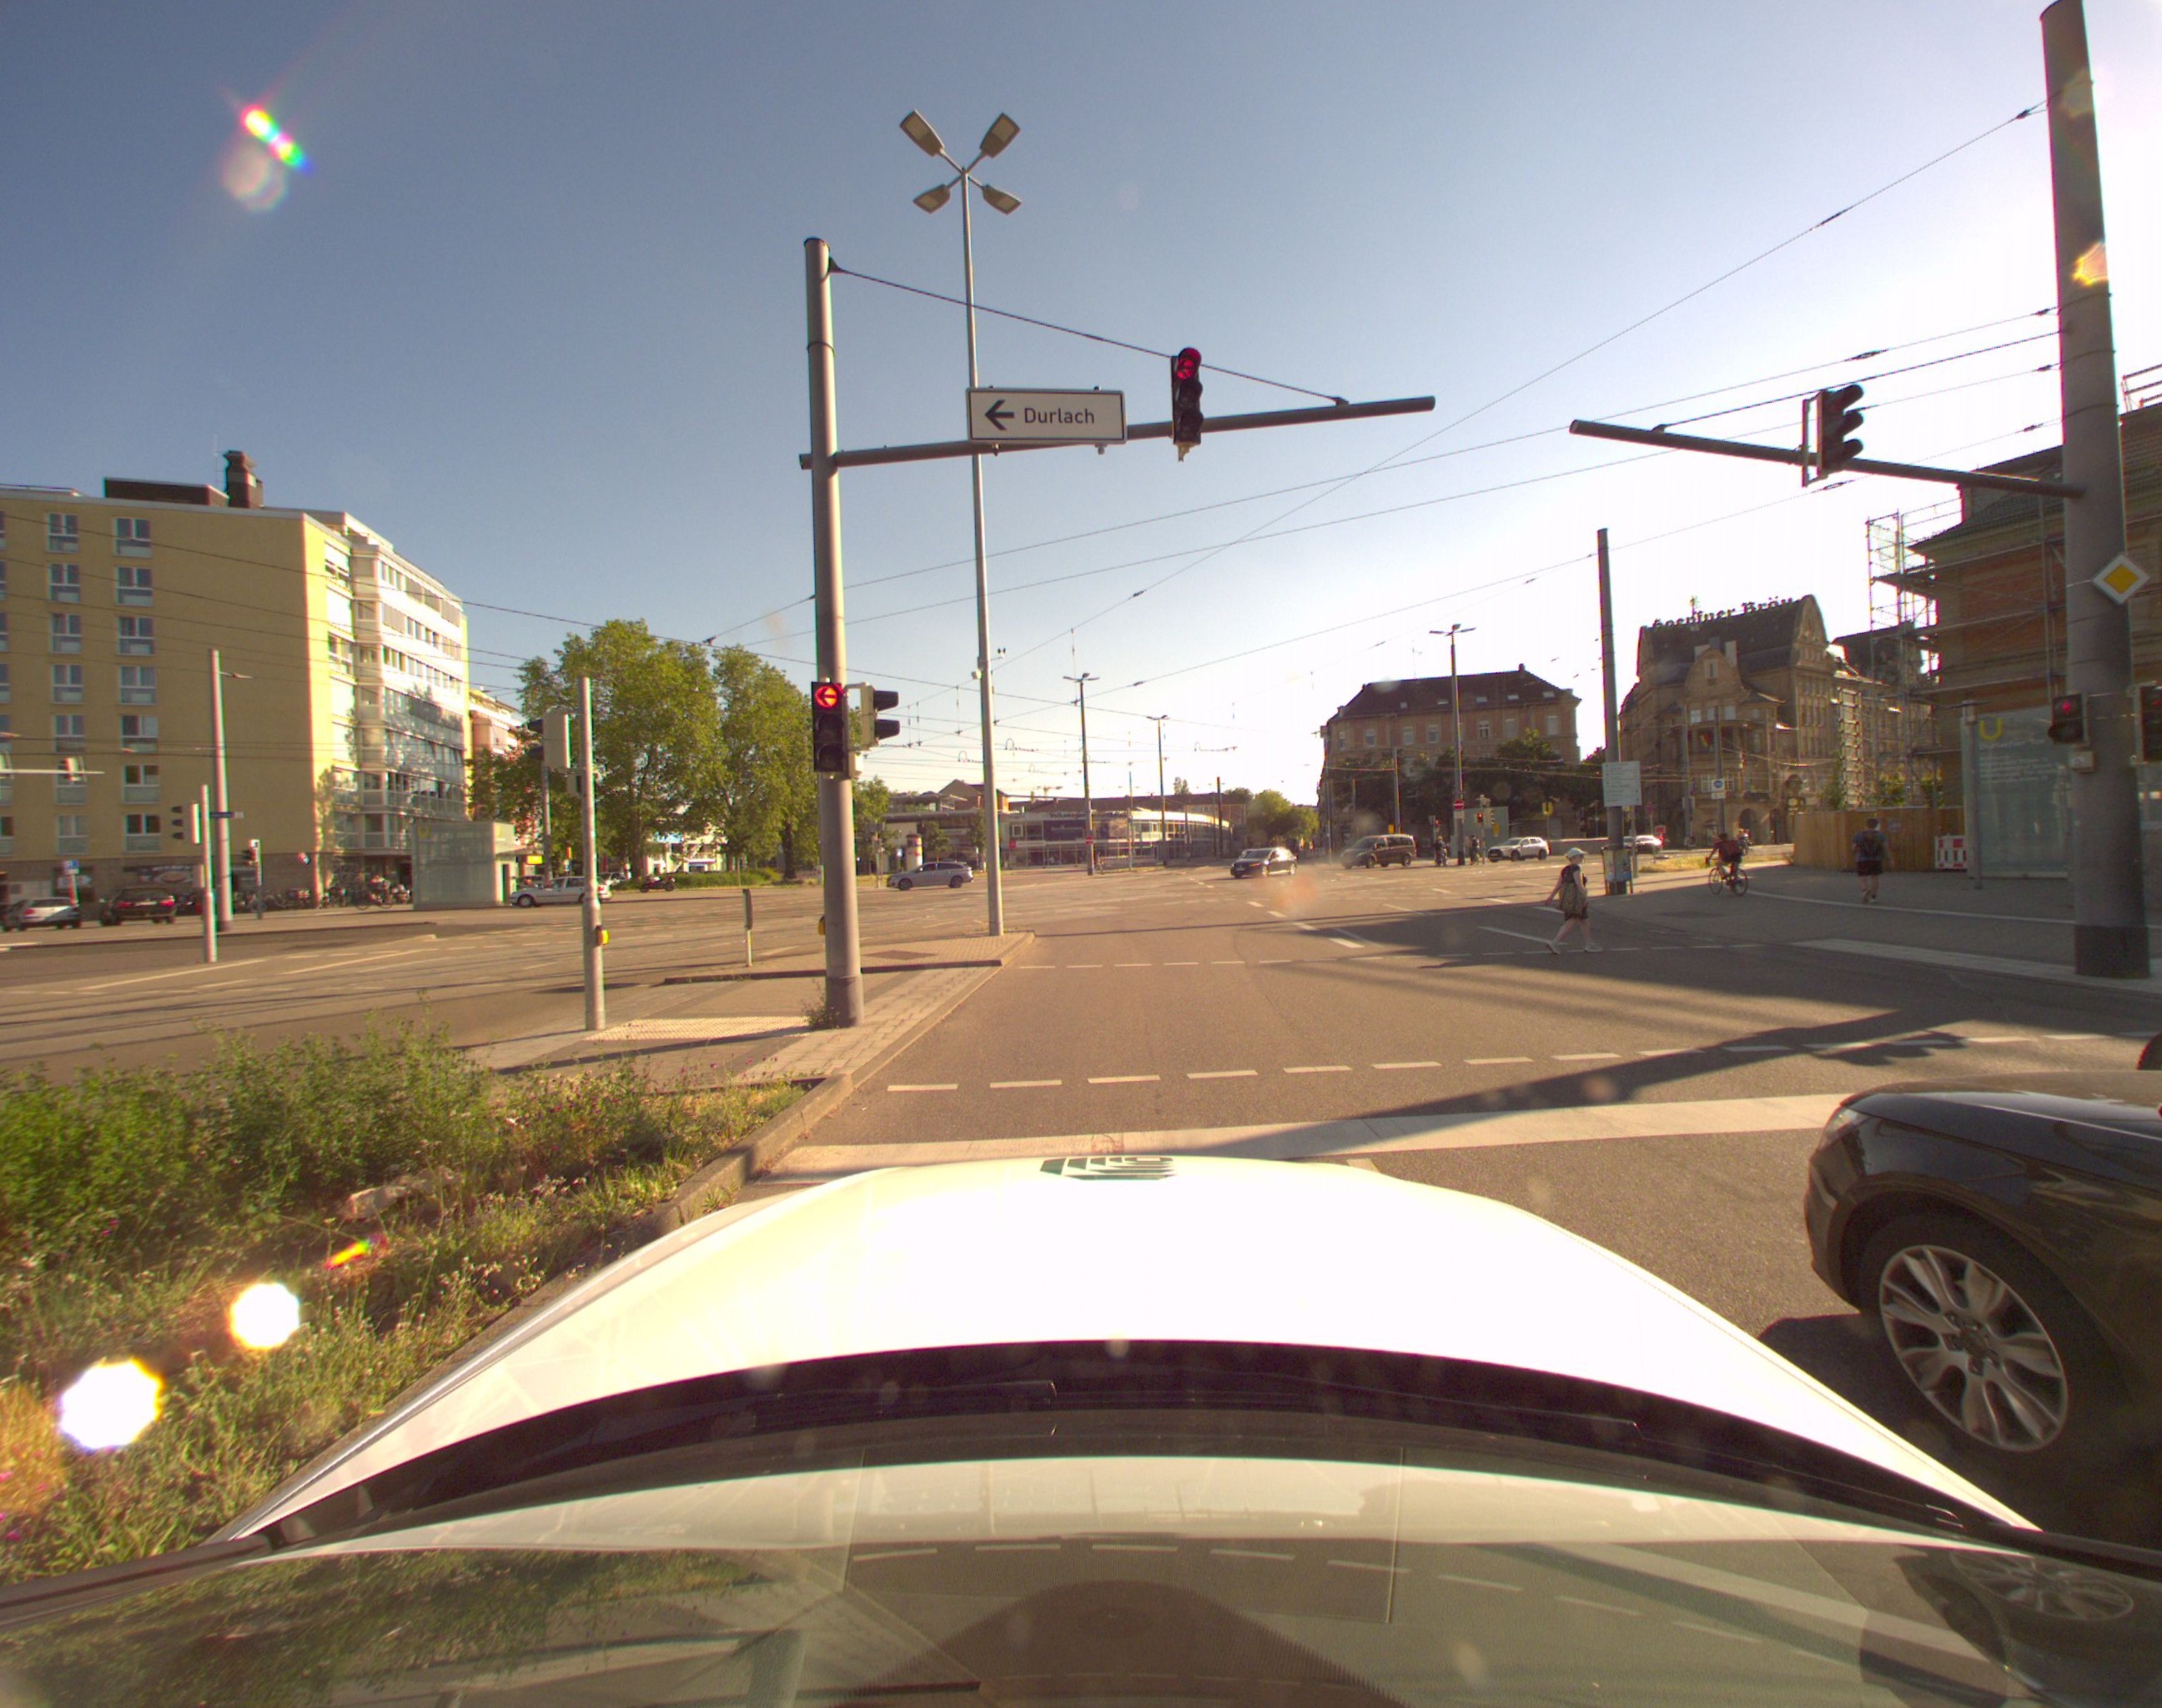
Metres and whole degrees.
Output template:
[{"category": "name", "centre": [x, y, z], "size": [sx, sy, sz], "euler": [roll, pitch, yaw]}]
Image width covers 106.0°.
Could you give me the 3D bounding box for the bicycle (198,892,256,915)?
[{"category": "bicycle", "centre": [-47.074, 2.729, 44.932], "size": [2.047, 1.090, 0.772], "euler": [-2, 0, -18]}]

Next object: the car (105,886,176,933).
[{"category": "car", "centre": [-43.643, 2.524, 37.765], "size": [3.948, 1.857, 1.865], "euler": [0, 2, 38]}]

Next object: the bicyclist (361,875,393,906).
[{"category": "bicyclist", "centre": [-38.108, 1.965, 44.106], "size": [0.925, 1.559, 0.958], "euler": [-2, 0, -14]}]

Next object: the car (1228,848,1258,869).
[{"category": "car", "centre": [13.103, 0.351, 65.967], "size": [1.937, 1.594, 4.625], "euler": [-2, 0, 7]}]

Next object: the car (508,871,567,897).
[{"category": "car", "centre": [-45.769, 2.505, 68.640], "size": [4.016, 1.857, 1.834], "euler": [-2, 2, -33]}]

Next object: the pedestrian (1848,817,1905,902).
[{"category": "pedestrian", "centre": [16.155, 0.106, 16.557], "size": [0.690, 1.671, 0.834], "euler": [-4, -1, 40]}]

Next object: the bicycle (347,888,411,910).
[{"category": "bicycle", "centre": [-38.009, 2.435, 44.119], "size": [2.441, 1.003, 0.958], "euler": [-2, 0, -14]}]

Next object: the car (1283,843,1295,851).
[{"category": "car", "centre": [47.599, -1.579, 186.549], "size": [1.795, 1.655, 3.919], "euler": [-1, 2, 1]}]

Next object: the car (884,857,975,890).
[{"category": "car", "centre": [-8.207, 1.031, 44.048], "size": [4.559, 1.517, 1.940], "euler": [-2, 0, -20]}]

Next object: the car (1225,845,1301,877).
[{"category": "car", "centre": [9.399, 0.355, 41.948], "size": [1.929, 1.486, 4.127], "euler": [-2, 0, 44]}]

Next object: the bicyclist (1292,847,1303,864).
[{"category": "bicyclist", "centre": [24.042, 0.155, 90.531], "size": [1.110, 1.900, 1.079], "euler": [-1, 1, 19]}]

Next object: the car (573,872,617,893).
[{"category": "car", "centre": [-37.723, 2.216, 63.331], "size": [1.850, 1.452, 3.981], "euler": [-2, 0, -14]}]

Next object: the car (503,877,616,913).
[{"category": "car", "centre": [-24.758, 1.907, 38.836], "size": [4.105, 1.452, 1.942], "euler": [-2, 0, -17]}]

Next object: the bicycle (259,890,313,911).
[{"category": "bicycle", "centre": [-45.291, 2.647, 46.410], "size": [2.047, 1.090, 0.772], "euler": [-2, 0, -18]}]

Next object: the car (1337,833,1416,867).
[{"category": "car", "centre": [17.870, -0.256, 49.216], "size": [4.869, 1.893, 1.933], "euler": [-2, 0, -34]}]

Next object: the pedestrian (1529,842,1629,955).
[{"category": "pedestrian", "centre": [7.421, 0.637, 12.161], "size": [1.092, 1.606, 0.697], "euler": [-1, 1, -9]}]

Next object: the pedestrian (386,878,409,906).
[{"category": "pedestrian", "centre": [-41.959, 2.325, 49.980], "size": [0.777, 1.676, 0.778], "euler": [-2, 0, -15]}]

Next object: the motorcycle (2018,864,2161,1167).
[{"category": "motorcycle", "centre": [5.465, 0.734, 2.972], "size": [1.091, 1.377, 2.655], "euler": [-1, -1, 3]}]

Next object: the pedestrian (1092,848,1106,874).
[{"category": "pedestrian", "centre": [1.283, 0.473, 57.691], "size": [0.986, 1.816, 0.920], "euler": [-1, 1, 0]}]

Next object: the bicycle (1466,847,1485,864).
[{"category": "bicycle", "centre": [23.337, 0.093, 48.239], "size": [0.850, 0.905, 2.316], "euler": [-1, 2, 21]}]

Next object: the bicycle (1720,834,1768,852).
[{"category": "bicycle", "centre": [35.521, -0.599, 43.627], "size": [2.501, 0.874, 0.854], "euler": [-2, 2, -20]}]

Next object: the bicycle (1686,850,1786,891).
[{"category": "bicycle", "centre": [16.328, 0.415, 20.374], "size": [0.717, 0.952, 2.250], "euler": [-1, -1, 2]}]

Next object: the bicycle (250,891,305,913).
[{"category": "bicycle", "centre": [-44.996, 2.663, 45.618], "size": [2.047, 1.090, 0.772], "euler": [-2, 0, -18]}]

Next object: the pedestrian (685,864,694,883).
[{"category": "pedestrian", "centre": [-41.174, 2.046, 85.679], "size": [0.586, 2.013, 0.711], "euler": [-2, 0, 1]}]

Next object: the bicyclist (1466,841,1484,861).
[{"category": "bicyclist", "centre": [23.317, -0.186, 48.193], "size": [0.850, 1.176, 0.718], "euler": [-1, 1, 21]}]

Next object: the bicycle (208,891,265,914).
[{"category": "bicycle", "centre": [-47.411, 2.713, 45.735], "size": [2.047, 1.090, 0.772], "euler": [-2, 0, -18]}]

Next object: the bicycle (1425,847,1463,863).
[{"category": "bicycle", "centre": [21.553, 0.048, 48.391], "size": [2.310, 0.905, 0.852], "euler": [-2, 2, -30]}]

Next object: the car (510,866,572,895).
[{"category": "car", "centre": [-42.899, 2.079, 64.747], "size": [4.016, 2.013, 1.979], "euler": [-2, 0, -33]}]

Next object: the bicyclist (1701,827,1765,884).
[{"category": "bicyclist", "centre": [16.321, 0.049, 20.423], "size": [0.717, 1.384, 1.076], "euler": [-1, -2, 2]}]

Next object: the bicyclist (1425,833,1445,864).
[{"category": "bicyclist", "centre": [20.850, -0.326, 48.016], "size": [0.586, 1.778, 0.859], "euler": [-2, 0, -28]}]

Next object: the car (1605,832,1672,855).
[{"category": "car", "centre": [40.023, -0.774, 58.491], "size": [4.361, 1.563, 1.937], "euler": [-2, 2, -23]}]

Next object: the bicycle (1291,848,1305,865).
[{"category": "bicycle", "centre": [24.143, 0.233, 90.550], "size": [1.126, 1.690, 4.020], "euler": [-1, 2, 18]}]

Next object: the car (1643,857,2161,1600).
[{"category": "car", "centre": [3.041, 0.743, 1.072], "size": [1.796, 1.444, 3.976], "euler": [-1, 0, -1]}]

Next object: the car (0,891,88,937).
[{"category": "car", "centre": [-46.543, 2.632, 36.535], "size": [3.949, 1.748, 1.851], "euler": [0, 2, 30]}]

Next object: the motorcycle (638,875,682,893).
[{"category": "motorcycle", "centre": [-26.461, 1.884, 51.236], "size": [2.286, 1.054, 0.685], "euler": [-2, 1, -12]}]

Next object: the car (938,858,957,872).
[{"category": "car", "centre": [-16.584, 1.372, 101.343], "size": [1.990, 1.534, 3.995], "euler": [-1, 2, -4]}]

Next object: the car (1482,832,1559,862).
[{"category": "car", "centre": [29.247, -0.474, 54.207], "size": [4.857, 1.799, 1.938], "euler": [-2, 0, -24]}]

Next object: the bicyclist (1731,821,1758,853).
[{"category": "bicyclist", "centre": [35.555, -0.897, 43.629], "size": [0.747, 1.690, 0.855], "euler": [-2, 1, -20]}]

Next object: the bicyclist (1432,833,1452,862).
[{"category": "bicyclist", "centre": [21.429, -0.415, 48.316], "size": [0.653, 1.690, 0.852], "euler": [-2, 2, -29]}]
